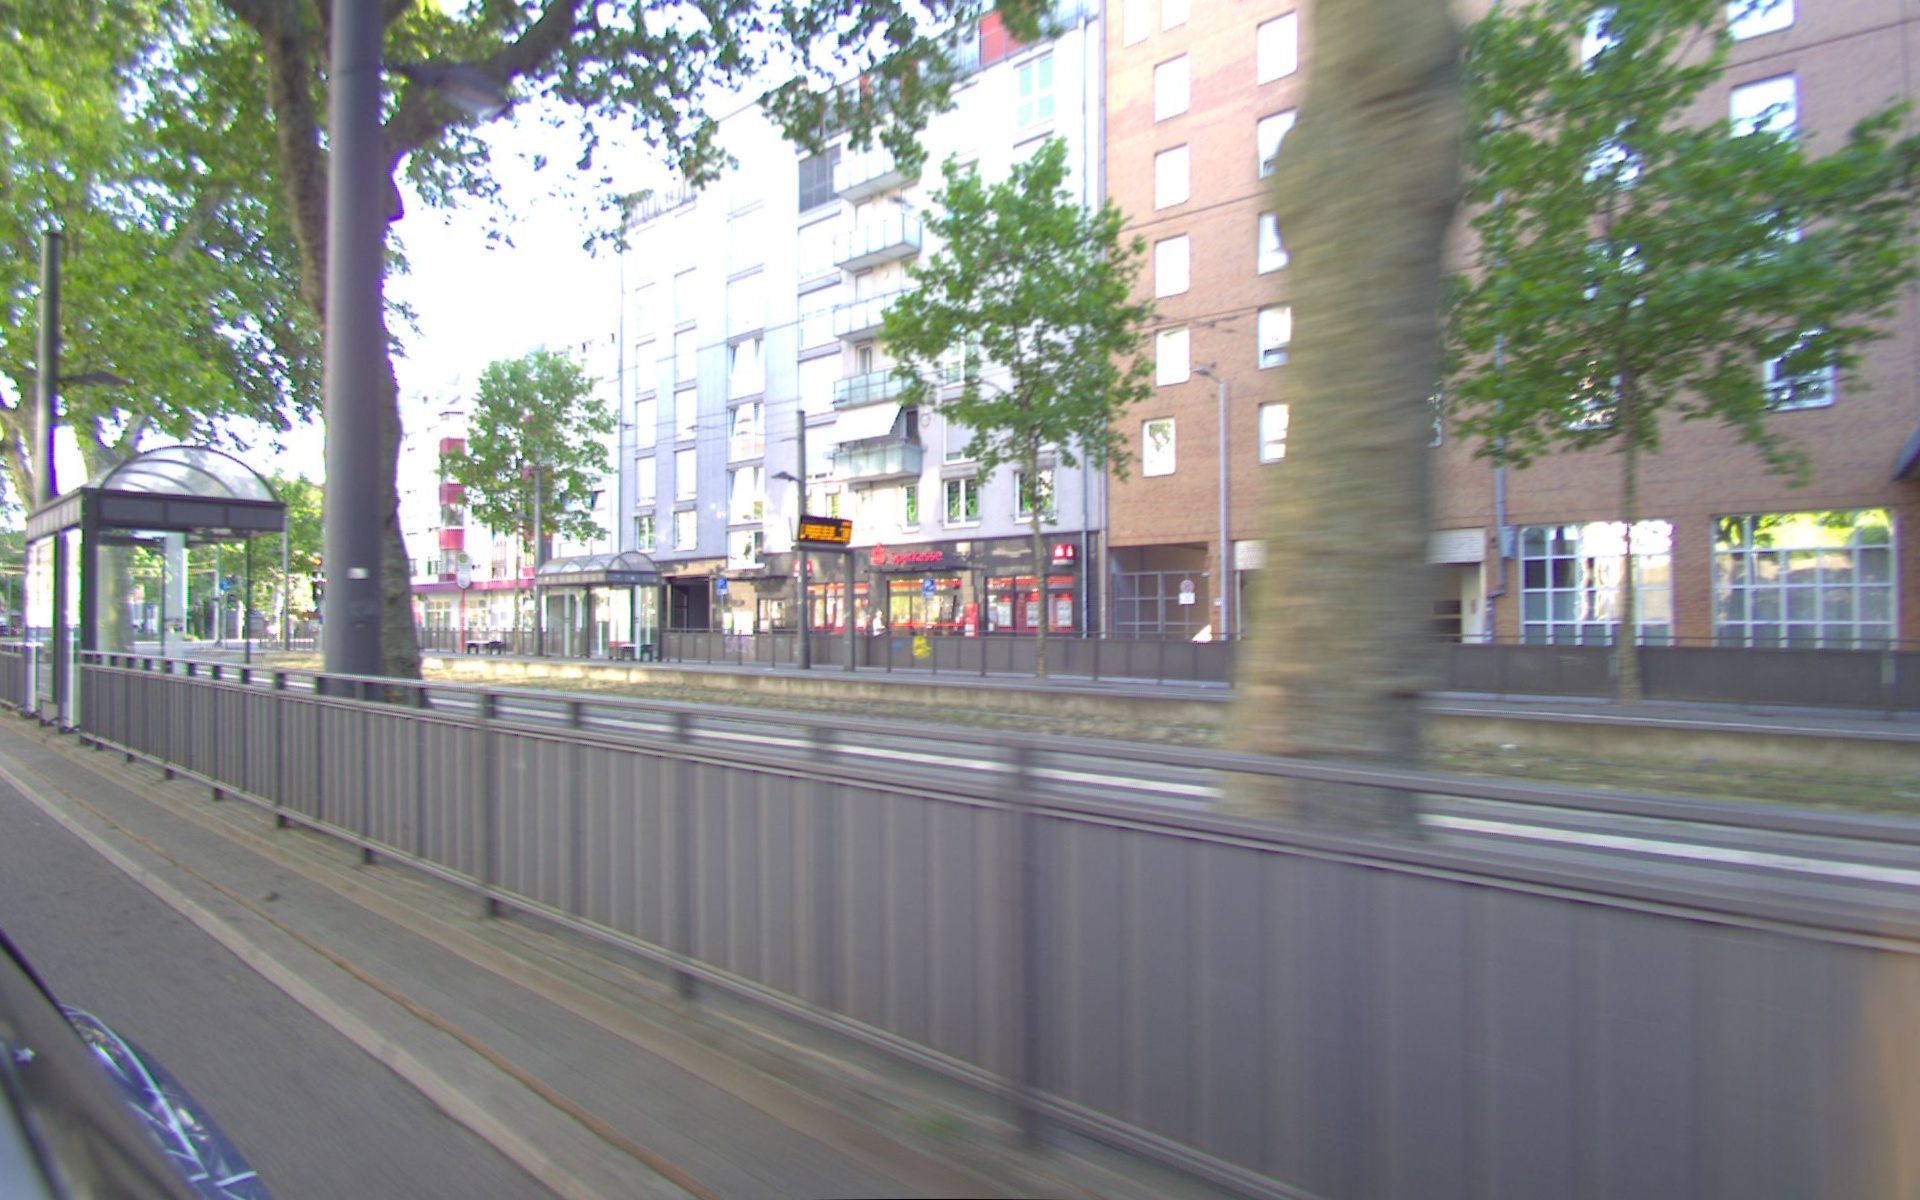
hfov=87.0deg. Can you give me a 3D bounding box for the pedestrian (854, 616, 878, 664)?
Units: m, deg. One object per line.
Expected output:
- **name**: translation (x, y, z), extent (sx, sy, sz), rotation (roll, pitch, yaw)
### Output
- **pedestrian**: translation (-3.592, 1.508, 38.571), extent (0.784, 1.784, 0.497), rotation (-1, 0, 40)

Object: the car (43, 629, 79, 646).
- **car**: translation (-84.947, 3.524, 95.613), extent (3.997, 1.475, 1.973), rotation (-2, -2, 40)

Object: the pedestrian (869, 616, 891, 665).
- **pedestrian**: translation (-3.001, 1.500, 37.902), extent (0.628, 1.784, 0.497), rotation (-1, 0, 40)

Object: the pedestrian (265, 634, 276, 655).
- **pedestrian**: translation (-59.468, 3.837, 87.267), extent (0.594, 1.717, 0.670), rotation (-1, 0, -11)
